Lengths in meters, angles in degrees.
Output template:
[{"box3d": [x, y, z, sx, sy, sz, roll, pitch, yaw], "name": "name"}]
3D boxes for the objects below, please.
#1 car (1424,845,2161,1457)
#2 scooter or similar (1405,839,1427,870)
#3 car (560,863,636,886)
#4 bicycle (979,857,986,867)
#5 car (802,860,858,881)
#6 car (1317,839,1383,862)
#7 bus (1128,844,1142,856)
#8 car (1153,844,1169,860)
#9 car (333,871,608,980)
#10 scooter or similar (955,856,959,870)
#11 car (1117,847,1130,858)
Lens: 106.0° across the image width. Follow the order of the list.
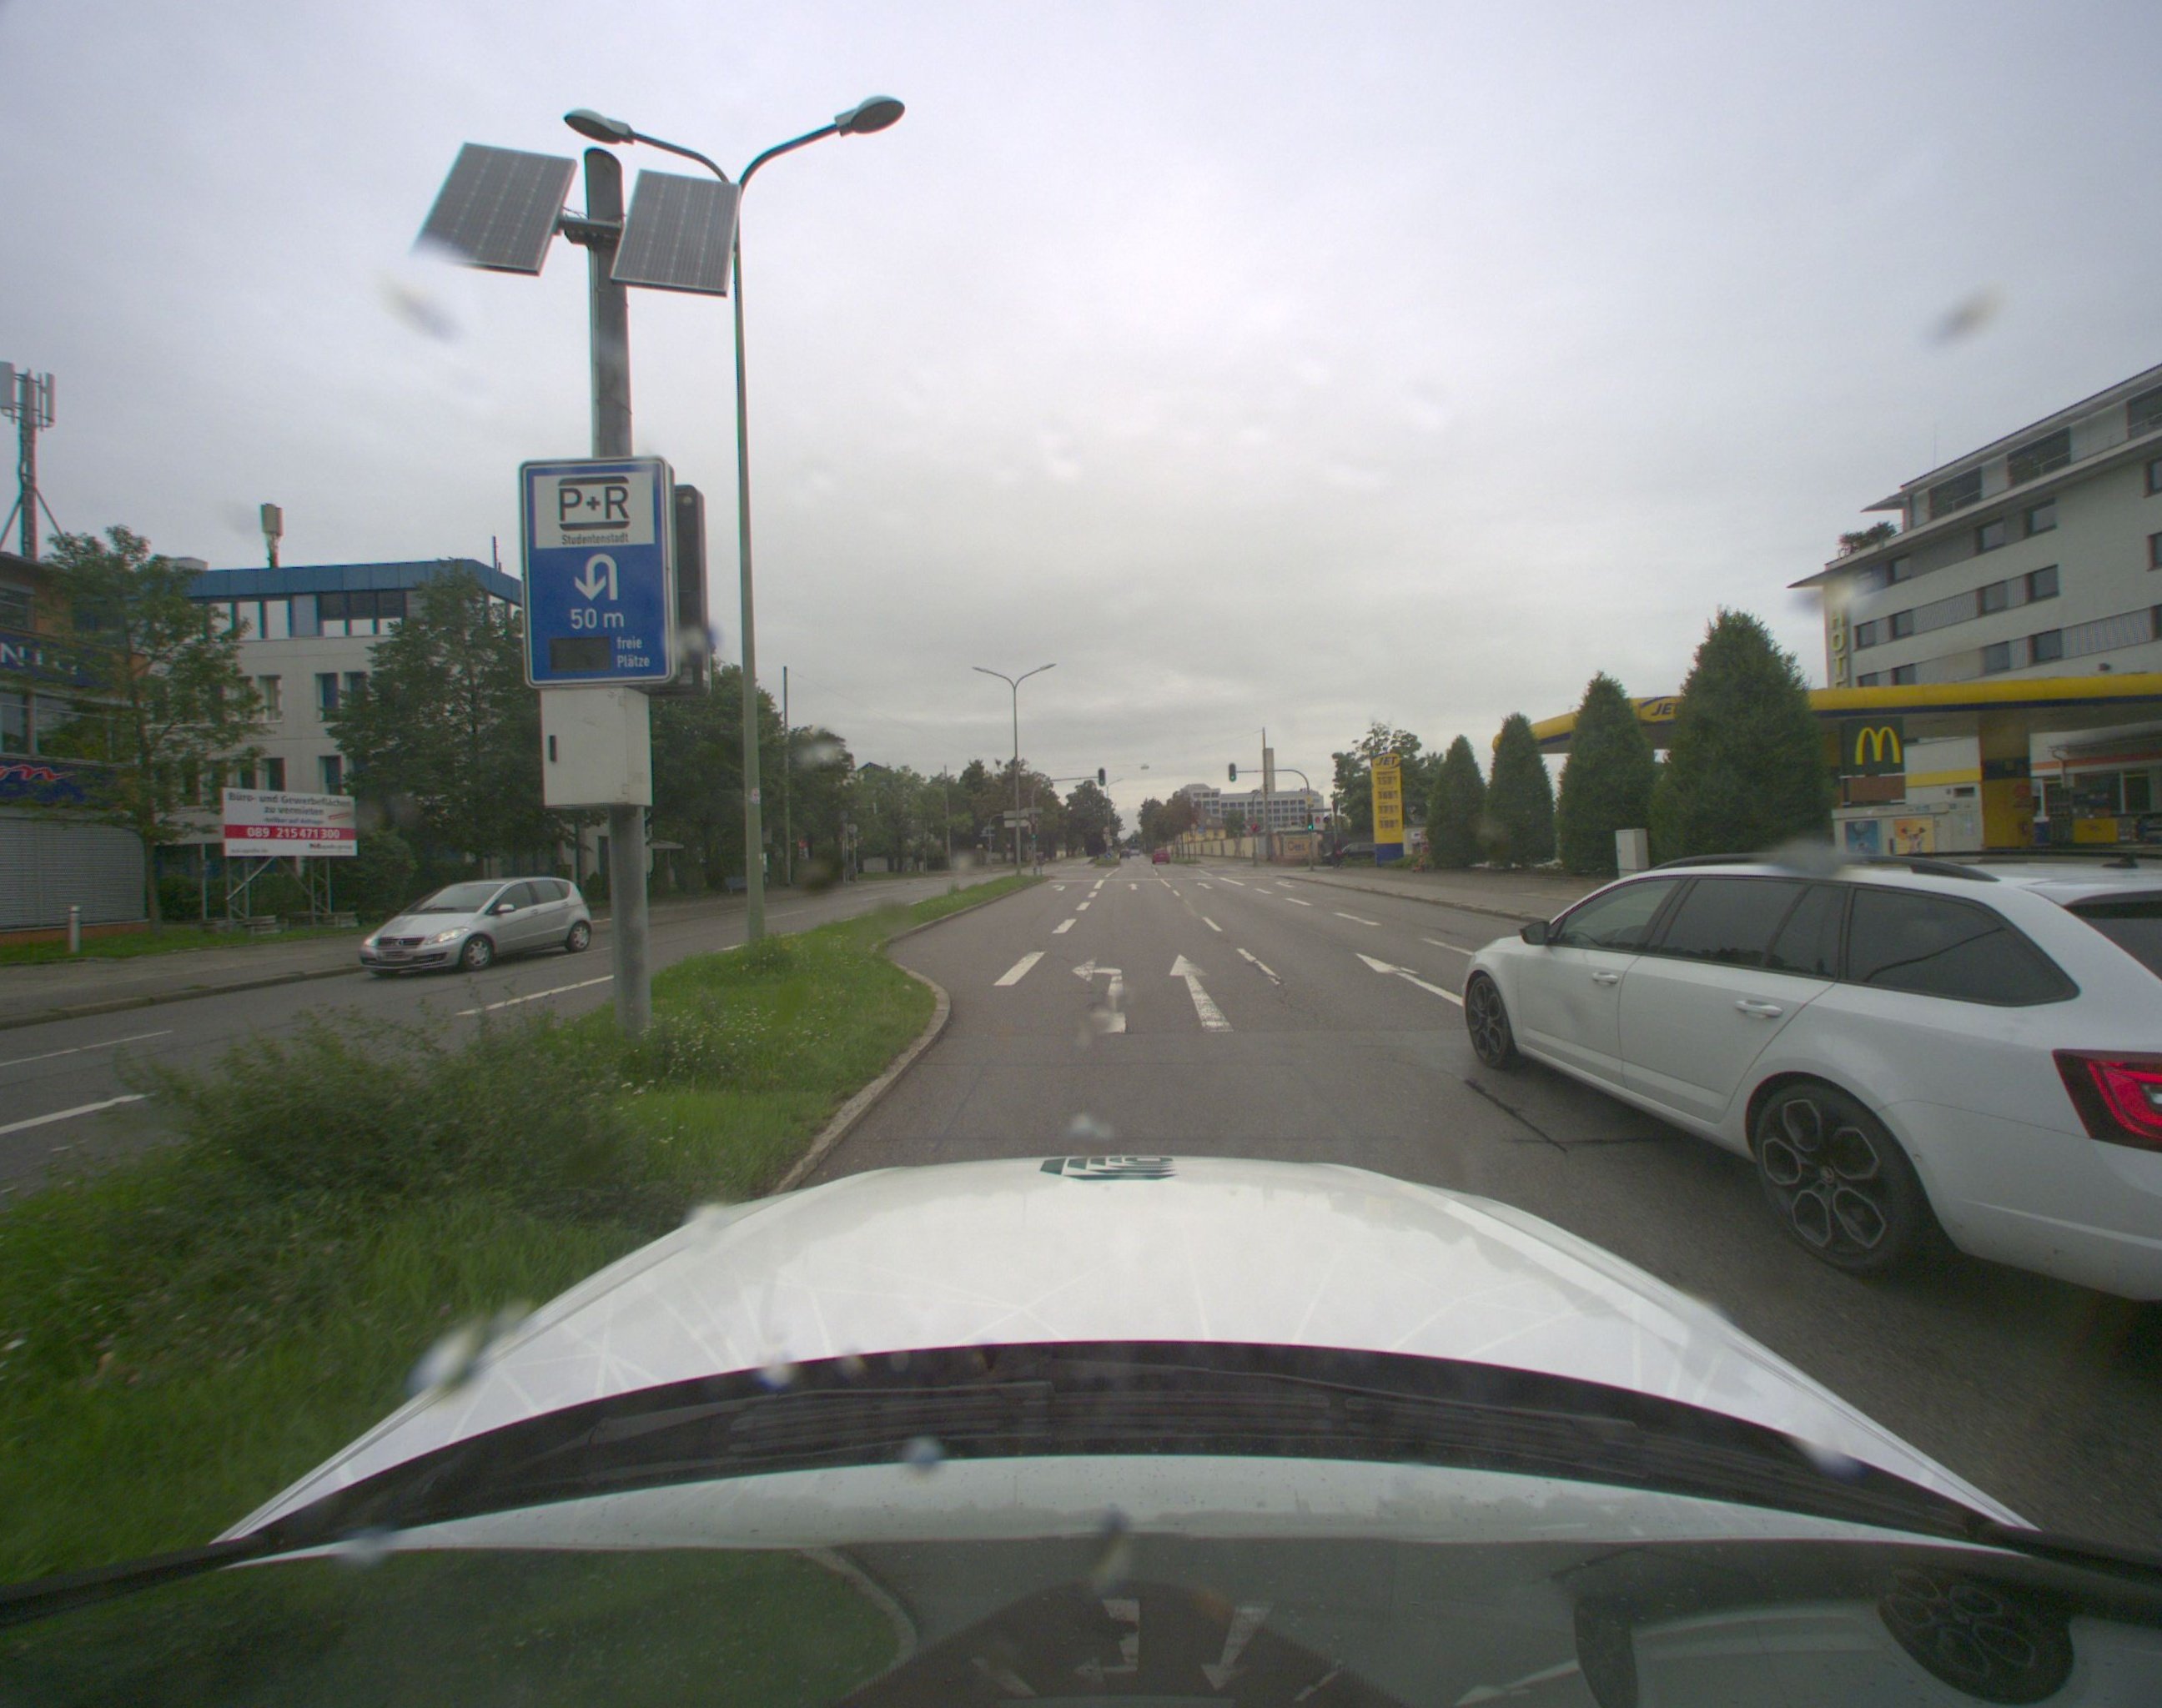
[{"box3d": [3.600, 0.714, 4.150, 1.871, 1.468, 4.503, -1, 0, 1], "name": "car"}, {"box3d": [13.887, 0.028, 33.818, 0.354, 1.242, 1.548, -5, -1, 7], "name": "scooter or similar"}, {"box3d": [-30.800, 1.306, 51.927, 4.128, 1.418, 1.879, -1, 0, 19], "name": "car"}, {"box3d": [-13.153, 1.080, 108.633, 0.580, 1.295, 2.454, -1, 0, 0], "name": "bicycle"}, {"box3d": [-22.297, 1.450, 72.470, 4.241, 1.574, 2.007, -3, 2, 11], "name": "car"}, {"box3d": [19.610, -0.248, 59.553, 4.230, 1.428, 2.003, -3, 0, 5], "name": "car"}, {"box3d": [14.509, -1.125, 219.396, 3.209, 3.127, 10.348, -1, 0, 2], "name": "bus"}, {"box3d": [8.700, -0.208, 89.006, 1.478, 1.715, 3.552, -1, 0, 1], "name": "car"}, {"box3d": [-11.020, 1.196, 15.142, 1.806, 1.557, 4.031, -3, 0, 4], "name": "car"}, {"box3d": [-13.576, 0.990, 89.331, 0.370, 1.424, 1.399, -1, 0, -12], "name": "scooter or similar"}, {"box3d": [7.476, -0.331, 143.481, 2.076, 1.866, 4.388, -1, 0, 1], "name": "car"}]
